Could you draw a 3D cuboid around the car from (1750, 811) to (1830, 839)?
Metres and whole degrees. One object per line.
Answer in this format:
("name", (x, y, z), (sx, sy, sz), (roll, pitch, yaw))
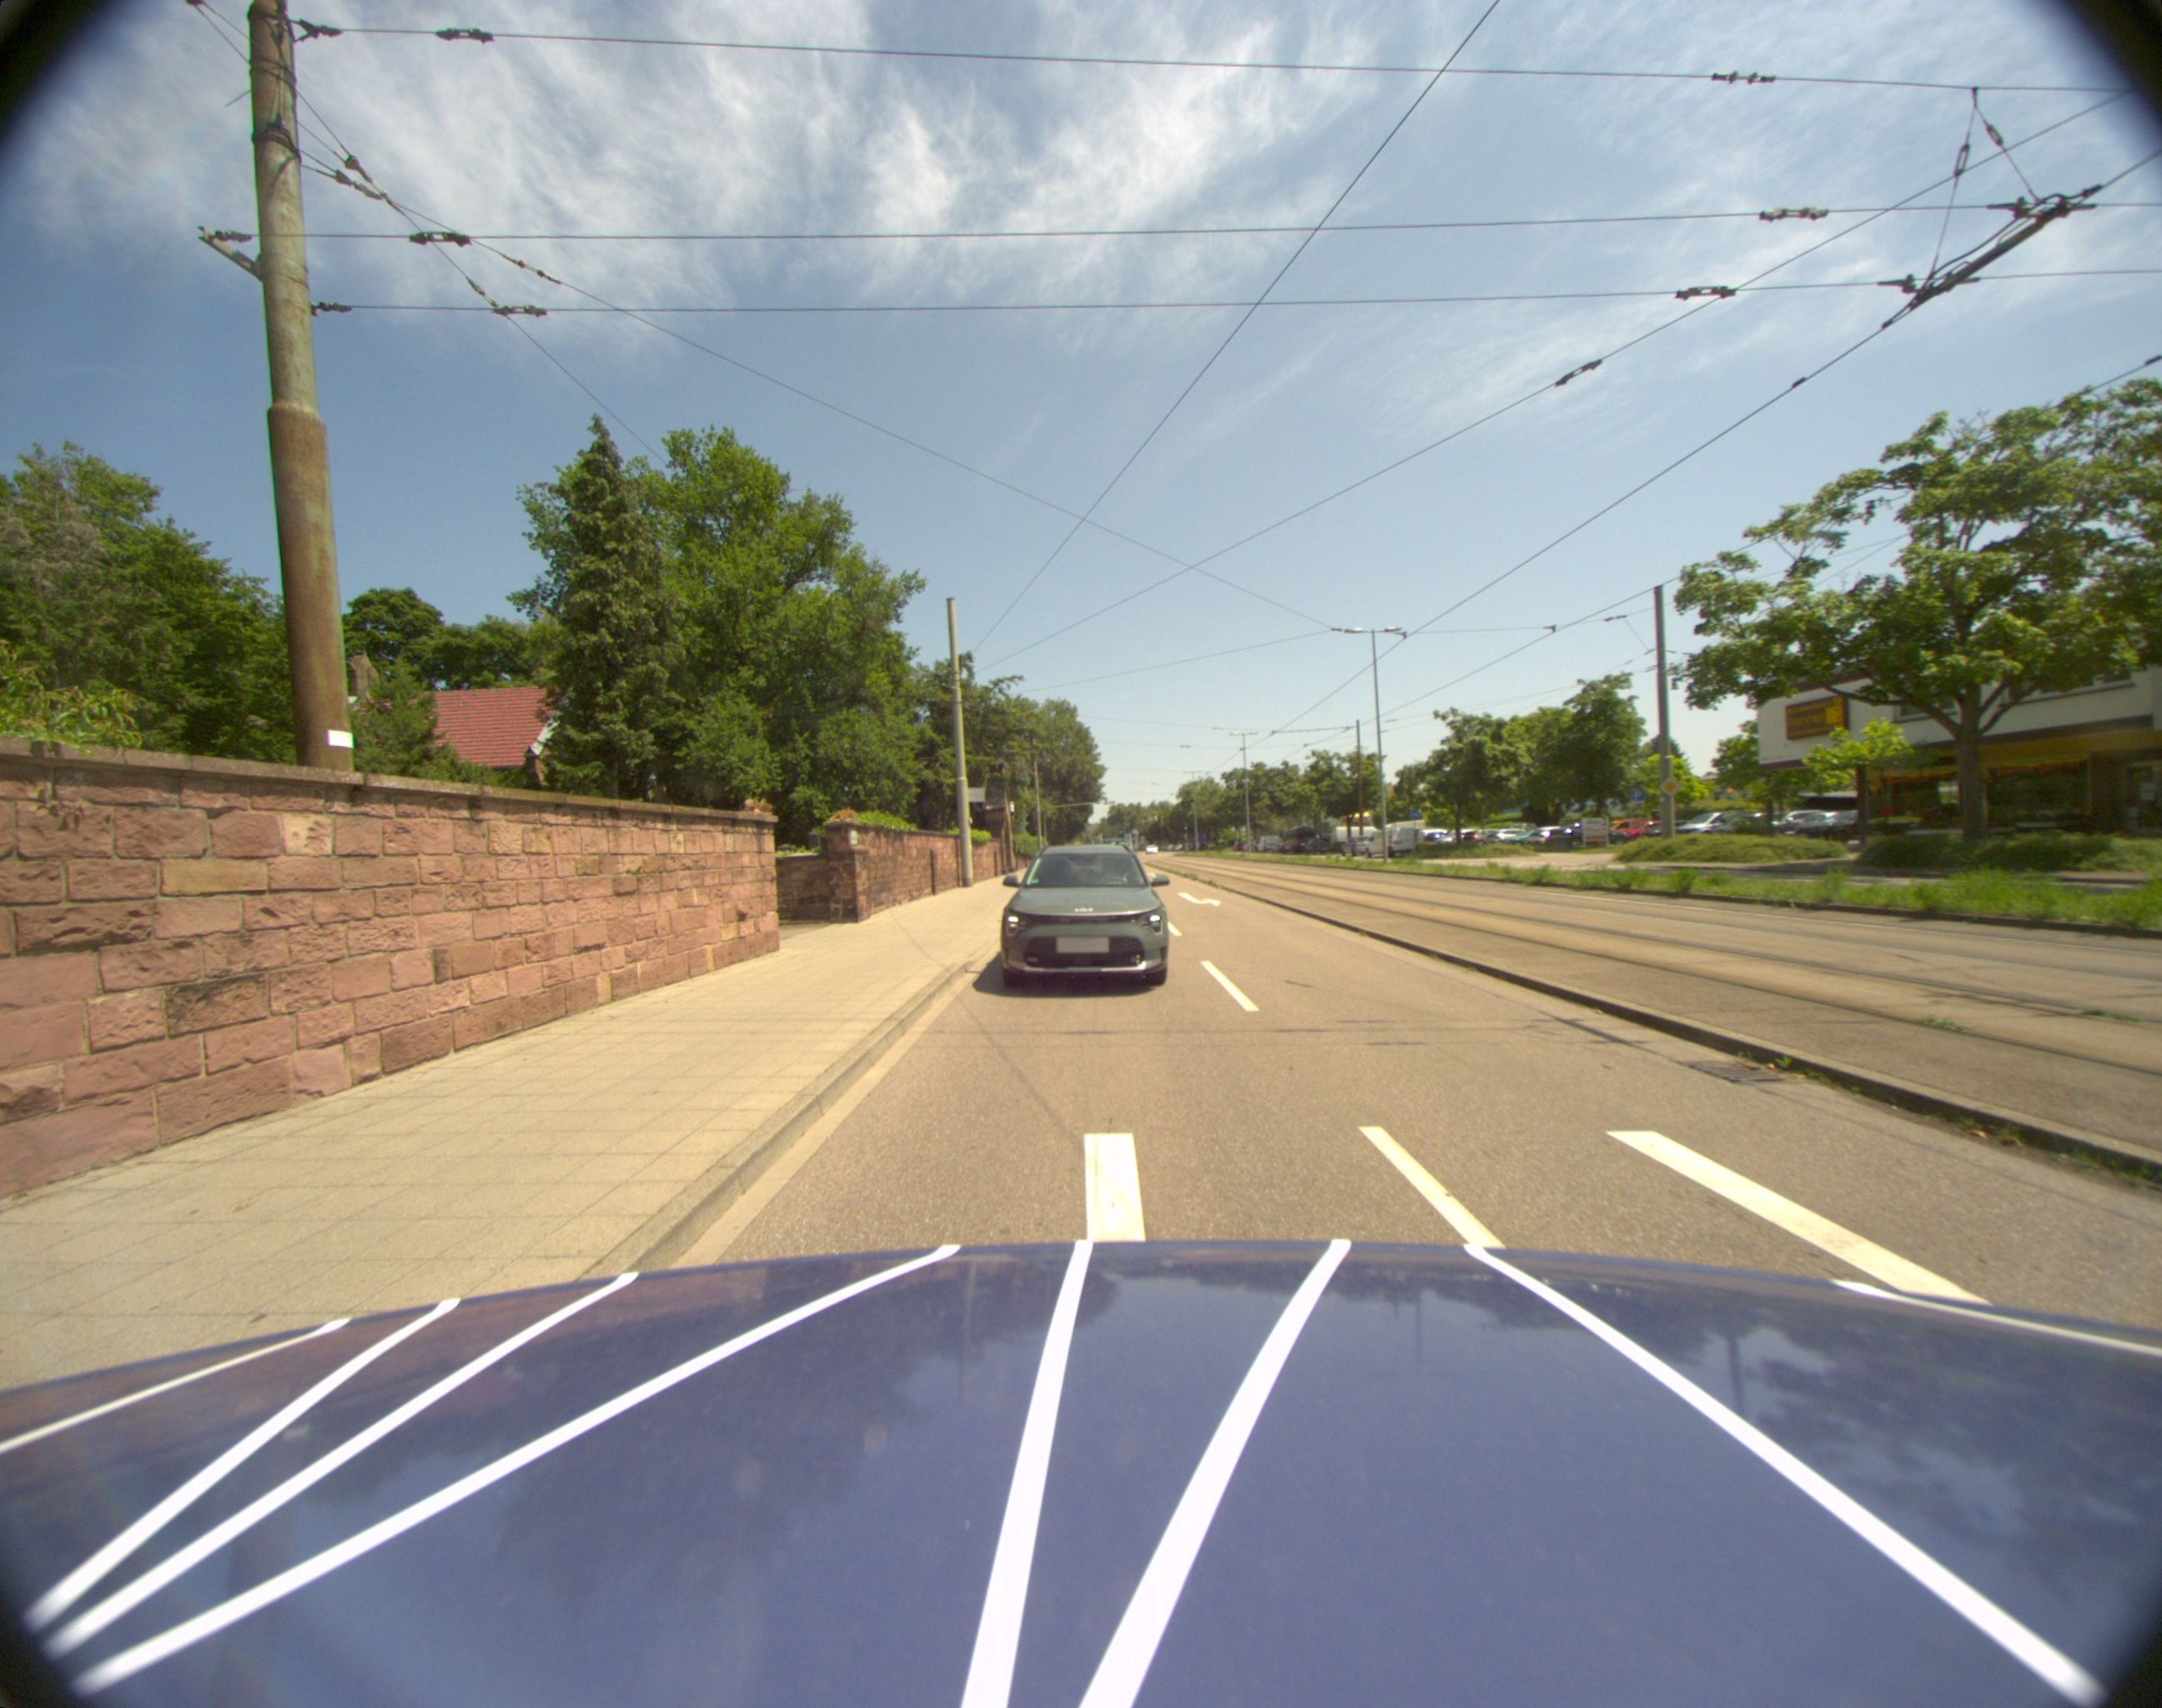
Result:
("car", (44.279, -1.817, 47.491), (3.492, 1.528, 1.624), (-3, 1, -2))

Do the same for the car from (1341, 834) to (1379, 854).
("car", (20.961, -0.780, 57.291), (1.674, 1.379, 3.568), (-3, 1, 3))

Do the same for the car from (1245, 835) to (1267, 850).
("car", (21.524, -1.442, 93.453), (1.681, 1.783, 4.202), (-3, 1, 0))

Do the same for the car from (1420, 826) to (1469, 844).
("car", (31.574, -1.666, 66.069), (3.414, 1.386, 1.602), (-3, 1, -4))

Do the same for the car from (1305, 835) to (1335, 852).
("car", (21.156, -0.967, 67.357), (1.674, 1.379, 3.669), (-3, 1, 3))

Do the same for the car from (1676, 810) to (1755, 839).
("car", (43.731, -2.044, 52.416), (3.997, 1.774, 1.813), (-3, 1, -2))

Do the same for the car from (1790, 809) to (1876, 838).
("car", (44.335, -1.770, 44.855), (3.492, 1.528, 1.624), (-3, 1, -2))

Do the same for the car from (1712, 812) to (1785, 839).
("car", (43.949, -1.865, 50.086), (3.492, 1.528, 1.534), (-3, 1, -2))

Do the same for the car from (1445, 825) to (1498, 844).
("car", (31.238, -1.551, 60.772), (3.414, 1.386, 1.602), (-3, 1, -4))

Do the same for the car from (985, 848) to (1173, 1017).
("car", (0.035, 0.750, 9.467), (1.789, 1.561, 4.183), (-1, 1, 1))

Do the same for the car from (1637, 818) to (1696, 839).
("car", (44.479, -1.946, 57.777), (3.355, 1.381, 1.506), (-3, 1, -2))

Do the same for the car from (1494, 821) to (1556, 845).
("car", (30.948, -1.438, 52.974), (3.414, 1.482, 1.598), (-3, 1, -4))

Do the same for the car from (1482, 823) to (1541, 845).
("car", (31.321, -1.443, 55.289), (3.414, 1.386, 1.602), (-3, 1, -4))

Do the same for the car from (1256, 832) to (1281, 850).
("car", (21.555, -1.468, 87.449), (1.681, 1.963, 4.509), (-3, 1, 0))

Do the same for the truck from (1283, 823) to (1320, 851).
("truck", (21.284, -1.586, 73.524), (2.225, 2.527, 4.928), (-3, 1, 1))

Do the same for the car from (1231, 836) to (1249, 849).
("car", (21.850, -1.586, 104.698), (1.681, 1.693, 3.823), (-3, 1, 0))

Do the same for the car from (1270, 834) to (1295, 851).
("car", (21.758, -1.231, 82.074), (1.681, 1.783, 3.868), (-3, 1, 0))

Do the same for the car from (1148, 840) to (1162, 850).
("car", (12.503, -1.489, 128.087), (1.998, 1.652, 4.000), (-3, 1, 1))

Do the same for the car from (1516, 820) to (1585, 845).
("car", (31.128, -1.411, 50.426), (3.414, 1.482, 1.793), (-3, 1, -4))

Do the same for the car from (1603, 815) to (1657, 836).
("car", (45.203, -2.366, 62.634), (3.355, 1.552, 1.506), (-3, 1, -2))

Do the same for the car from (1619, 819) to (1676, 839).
("car", (44.904, -1.971, 60.274), (3.355, 1.450, 1.506), (-3, 1, -2))

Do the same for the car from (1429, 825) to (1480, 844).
("car", (31.012, -1.594, 63.182), (3.414, 1.386, 1.602), (-3, 1, -4))

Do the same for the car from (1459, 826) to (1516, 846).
("car", (30.787, -1.353, 57.559), (3.414, 1.386, 1.602), (-3, 1, -4))

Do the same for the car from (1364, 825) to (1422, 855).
("car", (20.888, -0.926, 51.049), (1.998, 1.872, 4.661), (-3, 1, 1))

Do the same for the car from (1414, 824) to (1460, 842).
("car", (32.181, -1.877, 68.722), (3.414, 1.497, 1.602), (-3, 1, -4))
